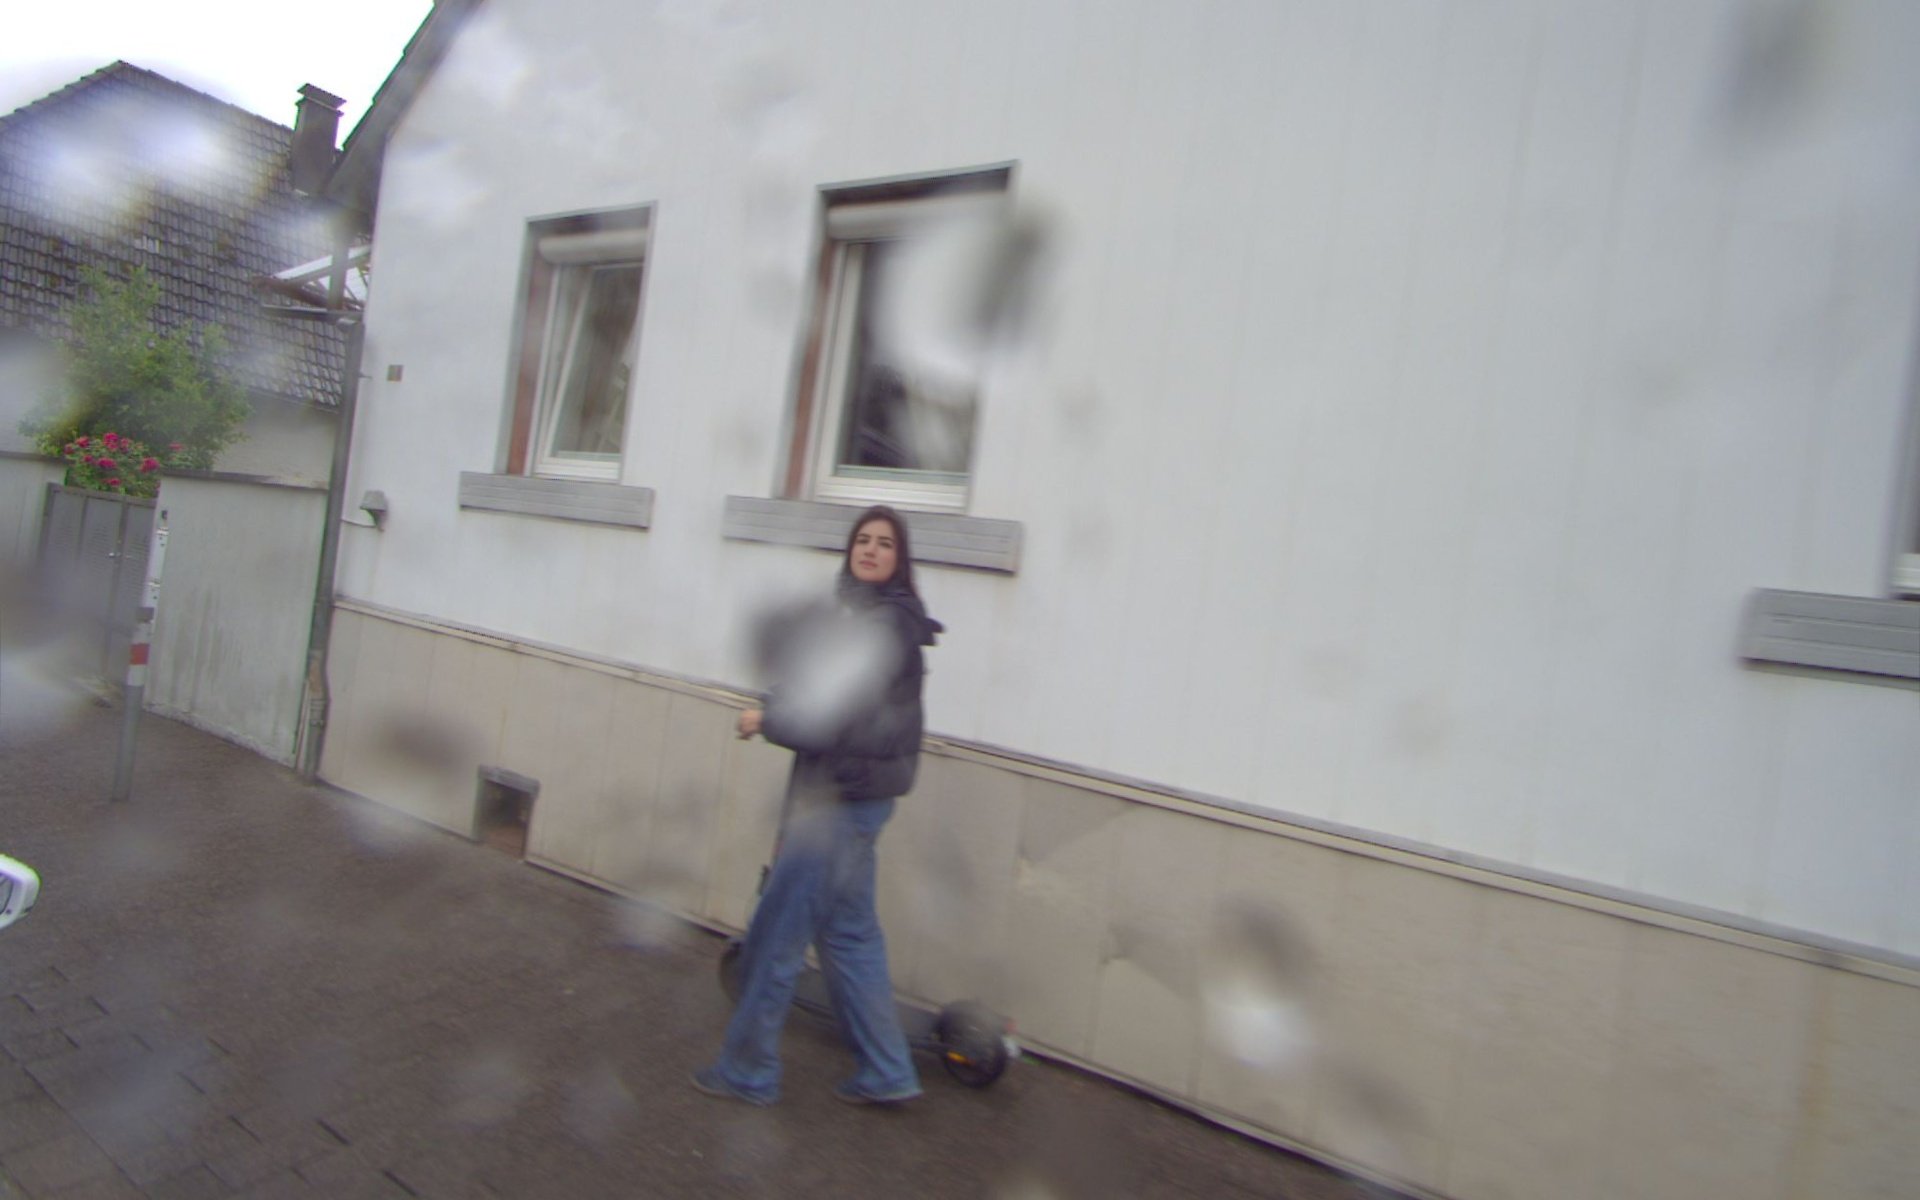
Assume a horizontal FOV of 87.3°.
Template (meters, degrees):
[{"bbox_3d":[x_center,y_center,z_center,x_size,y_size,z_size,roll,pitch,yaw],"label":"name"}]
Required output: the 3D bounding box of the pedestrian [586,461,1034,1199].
[{"bbox_3d":[-0.414,0.556,2.912,0.807,1.753,0.695,8,0,31],"label":"pedestrian"}]

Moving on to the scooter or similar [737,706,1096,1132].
[{"bbox_3d":[-0.172,0.948,3.241,1.082,1.040,0.245,7,1,31],"label":"scooter or similar"}]
